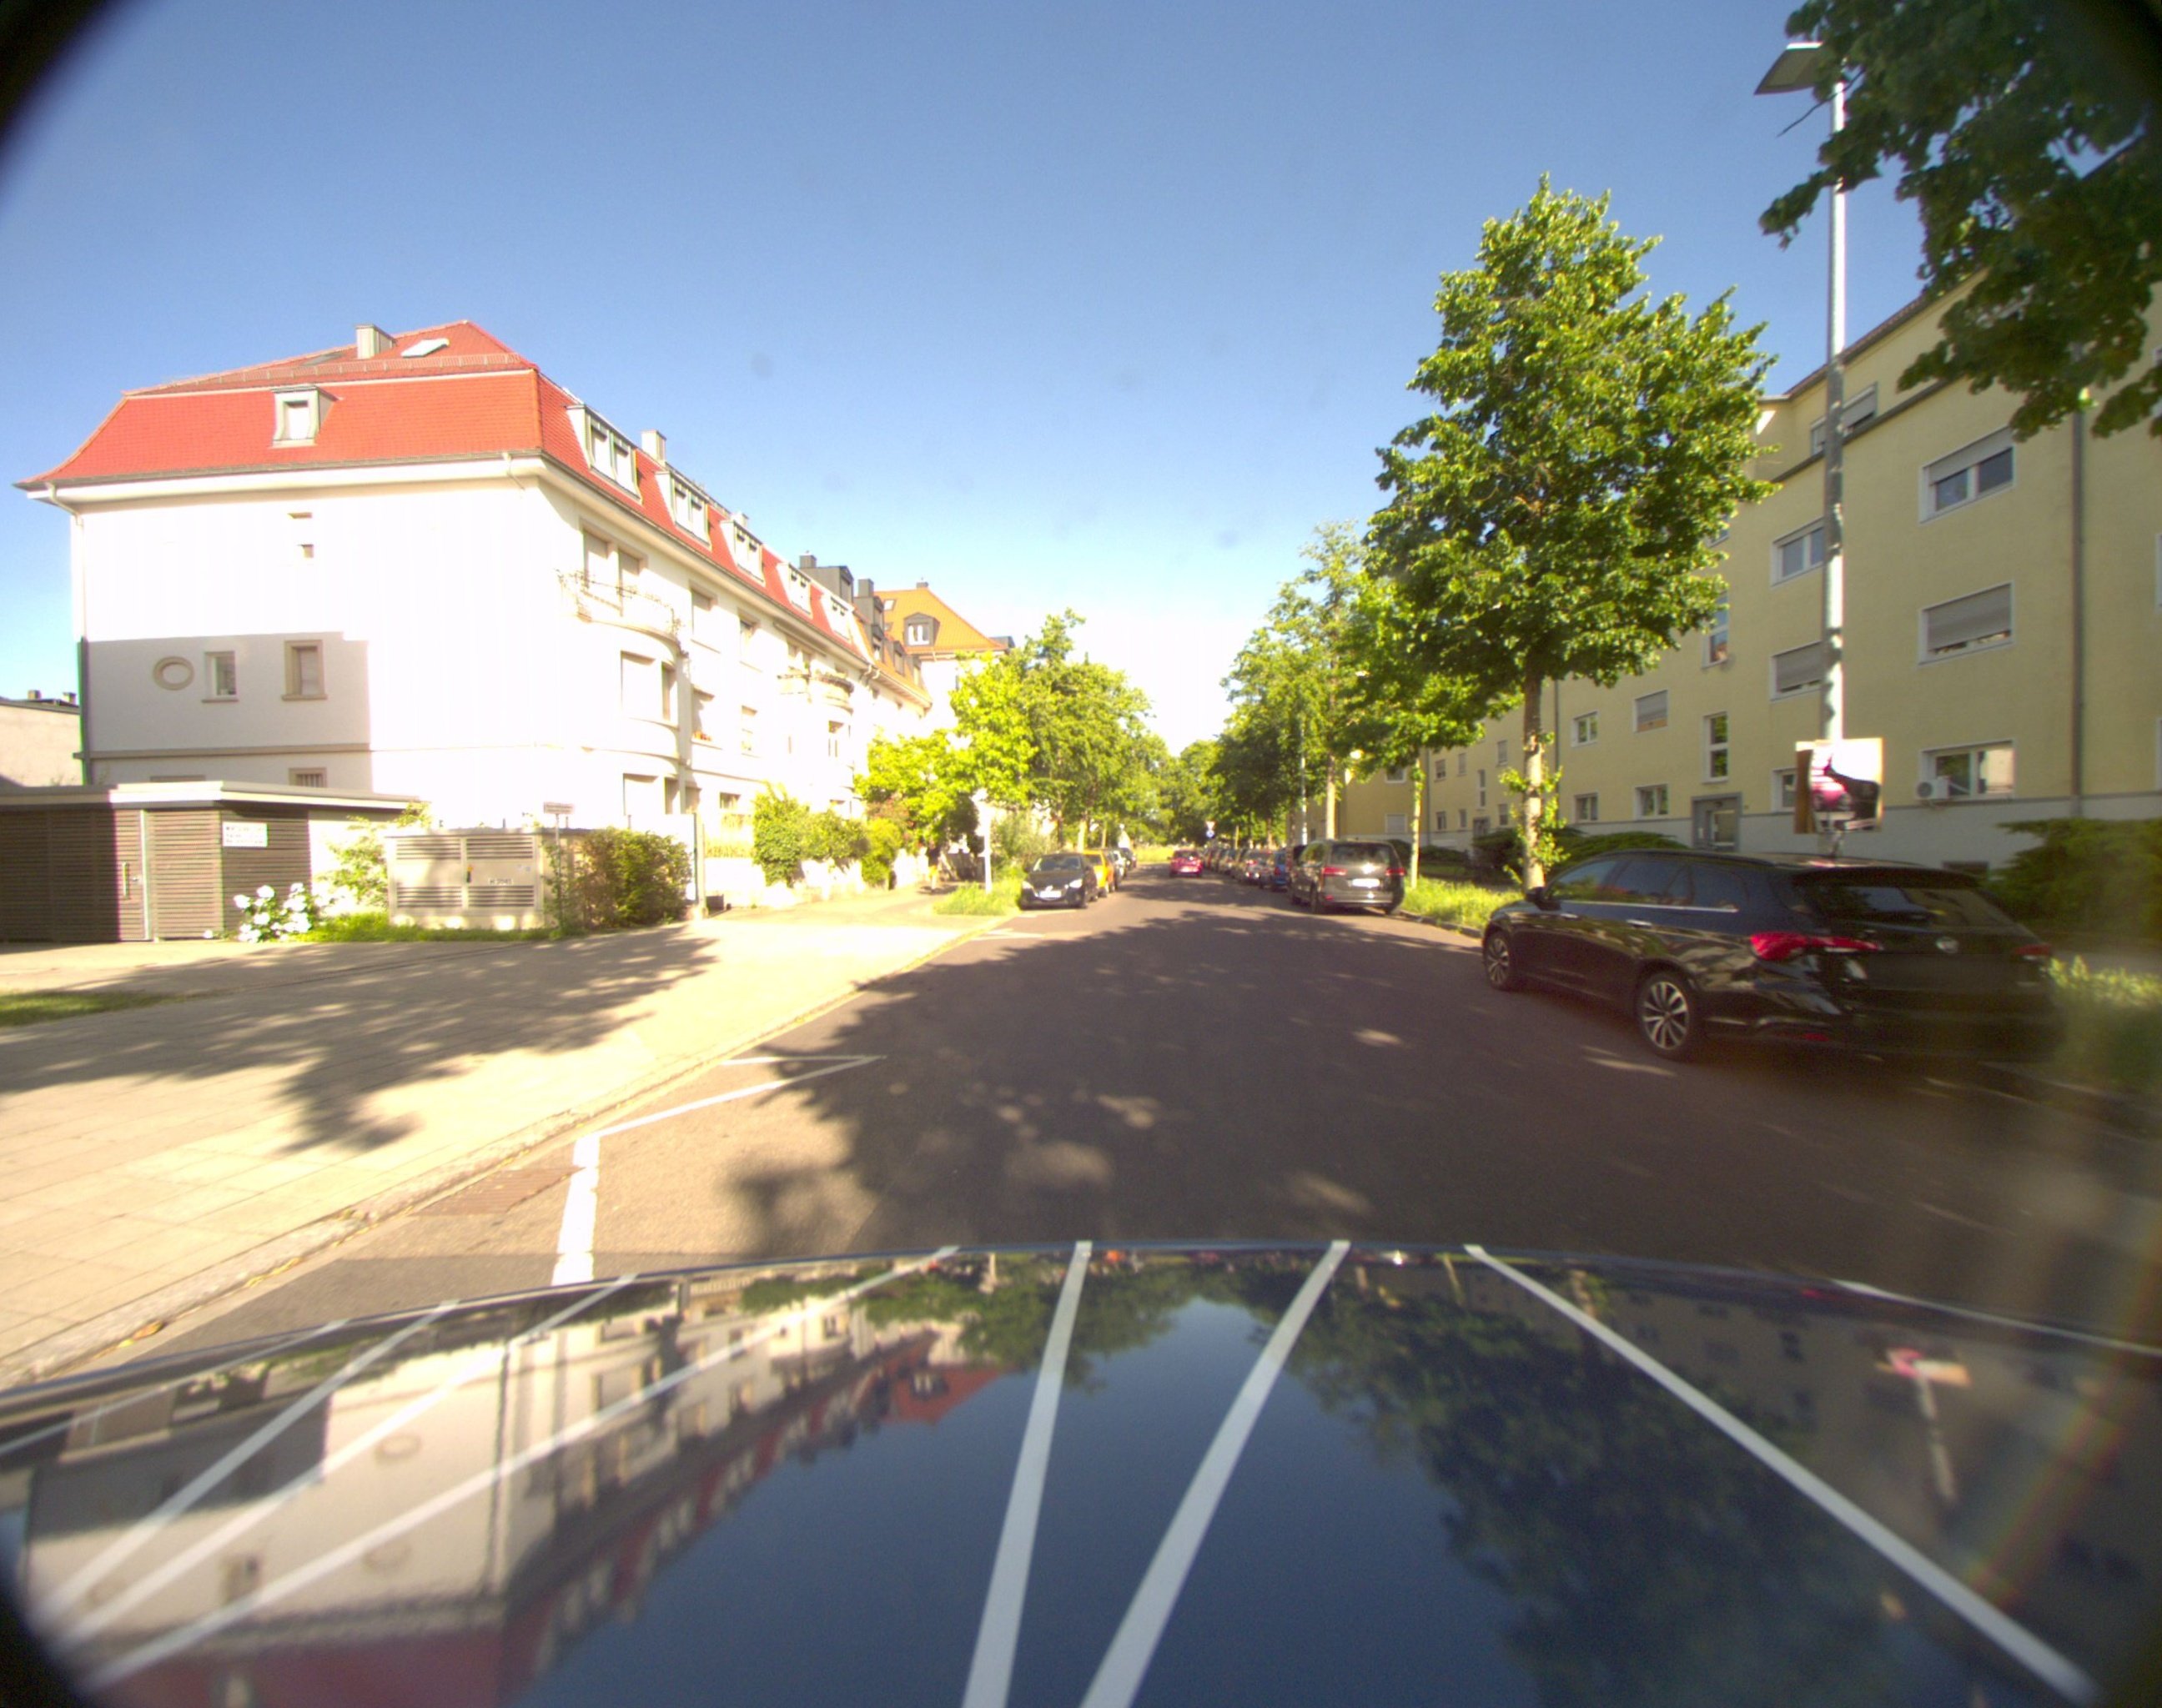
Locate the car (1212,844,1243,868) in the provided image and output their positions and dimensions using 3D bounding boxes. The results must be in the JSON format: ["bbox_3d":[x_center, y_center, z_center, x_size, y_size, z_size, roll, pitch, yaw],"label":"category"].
[{"bbox_3d":[9.360,0.082,48.763,1.668,1.450,3.934,-1,1,6],"label":"car"}]

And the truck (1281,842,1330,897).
[{"bbox_3d":[6.756,0.426,22.988,1.086,1.568,2.433,-1,1,8],"label":"truck"}]

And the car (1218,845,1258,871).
[{"bbox_3d":[8.899,0.204,43.304,1.749,1.361,4.675,0,1,6],"label":"car"}]

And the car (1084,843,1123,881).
[{"bbox_3d":[1.091,0.347,35.585,1.652,1.646,3.847,-1,1,3],"label":"car"}]

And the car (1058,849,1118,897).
[{"bbox_3d":[0.309,0.568,25.429,1.640,1.446,4.101,-1,1,6],"label":"car"}]

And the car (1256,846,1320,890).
[{"bbox_3d":[7.278,0.445,26.984,1.524,1.387,3.727,-1,1,4],"label":"car"}]

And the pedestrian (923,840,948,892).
[{"bbox_3d":[-5.009,0.396,26.164,0.623,1.765,0.800,0,1,6],"label":"pedestrian"}]

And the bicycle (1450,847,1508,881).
[{"bbox_3d":[13.288,0.317,25.422,0.487,1.075,1.842,-4,2,-18],"label":"bicycle"}]

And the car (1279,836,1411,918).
[{"bbox_3d":[6.169,0.439,18.391,1.853,1.671,4.978,2,1,5],"label":"car"}]

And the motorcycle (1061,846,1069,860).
[{"bbox_3d":[-1.450,-0.104,68.462,0.658,1.272,1.800,1,1,-1],"label":"motorcycle"}]

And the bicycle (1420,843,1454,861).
[{"bbox_3d":[19.104,-0.093,40.784,1.636,0.925,0.481,-1,1,3],"label":"bicycle"}]

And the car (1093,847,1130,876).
[{"bbox_3d":[1.661,0.370,40.198,1.633,1.417,4.369,0,1,6],"label":"car"}]

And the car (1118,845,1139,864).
[{"bbox_3d":[3.785,-0.003,61.051,1.615,1.402,4.351,-1,1,2],"label":"car"}]

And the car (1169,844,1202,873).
[{"bbox_3d":[5.387,0.204,39.477,1.508,1.418,3.178,0,1,5],"label":"car"}]

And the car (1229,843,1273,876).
[{"bbox_3d":[8.294,0.230,37.394,1.623,1.507,4.270,1,1,7],"label":"car"}]

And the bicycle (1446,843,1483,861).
[{"bbox_3d":[19.512,-0.103,38.682,1.637,0.925,0.481,-1,1,-2],"label":"bicycle"}]

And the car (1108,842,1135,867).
[{"bbox_3d":[2.921,0.001,53.997,1.784,1.688,4.299,-1,1,5],"label":"car"}]

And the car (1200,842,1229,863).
[{"bbox_3d":[10.175,-0.134,58.212,1.695,1.556,4.736,-1,1,4],"label":"car"}]

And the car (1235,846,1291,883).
[{"bbox_3d":[7.530,0.380,31.829,1.795,1.436,4.690,1,1,7],"label":"car"}]

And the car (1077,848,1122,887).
[{"bbox_3d":[0.806,0.499,30.469,1.653,1.420,3.613,0,1,4],"label":"car"}]

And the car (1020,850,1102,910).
[{"bbox_3d":[-0.453,0.642,20.917,1.704,1.441,4.083,0,1,6],"label":"car"}]

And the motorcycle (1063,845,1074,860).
[{"bbox_3d":[-1.178,-0.150,70.315,0.973,1.321,1.852,-1,1,1],"label":"motorcycle"}]

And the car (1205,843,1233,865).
[{"bbox_3d":[9.728,-0.022,53.650,1.668,1.477,3.257,-1,1,6],"label":"car"}]

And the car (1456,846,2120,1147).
[{"bbox_3d":[4.965,0.740,6.495,1.510,1.540,4.779,1,1,5],"label":"car"}]

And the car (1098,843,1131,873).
[{"bbox_3d":[2.011,0.173,44.780,1.688,1.579,4.536,-3,1,4],"label":"car"}]
